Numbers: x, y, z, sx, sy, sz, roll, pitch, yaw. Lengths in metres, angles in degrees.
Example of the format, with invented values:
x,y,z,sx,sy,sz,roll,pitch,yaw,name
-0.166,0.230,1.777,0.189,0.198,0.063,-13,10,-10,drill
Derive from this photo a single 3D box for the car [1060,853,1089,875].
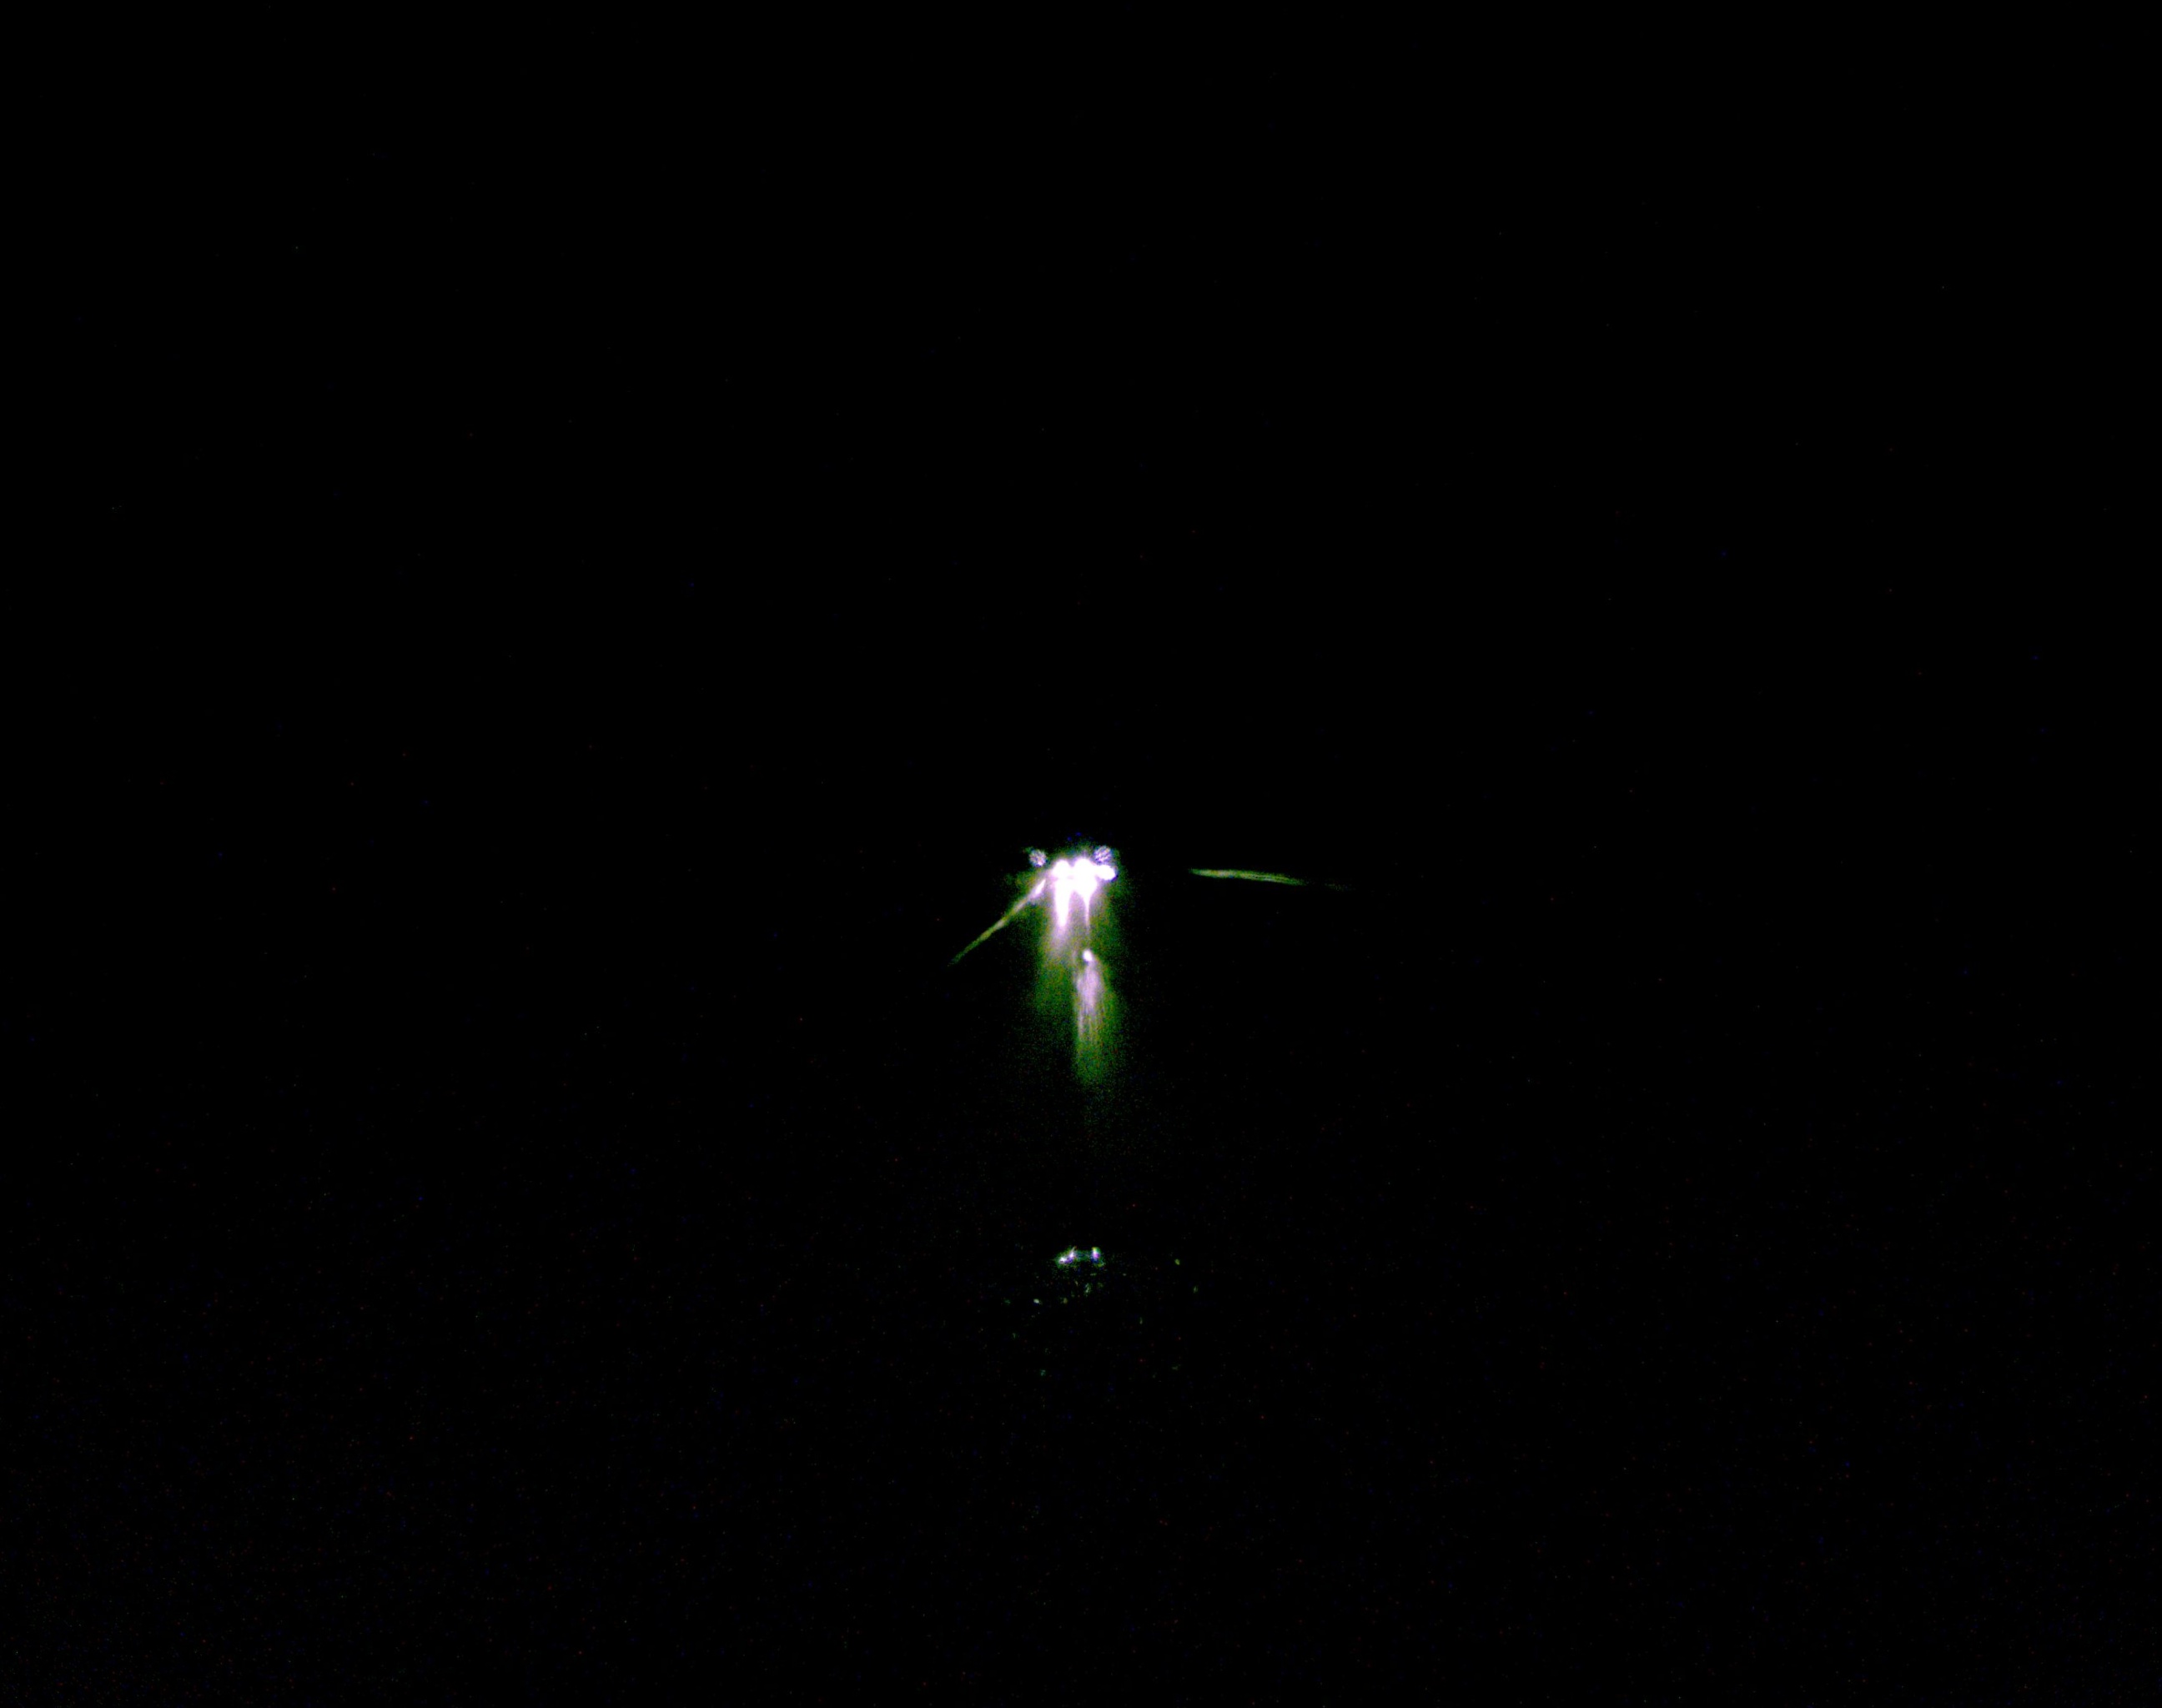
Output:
x,y,z,sx,sy,sz,roll,pitch,yaw,name
-0.494,0.690,55.011,1.776,1.444,4.134,-3,1,-4,car
